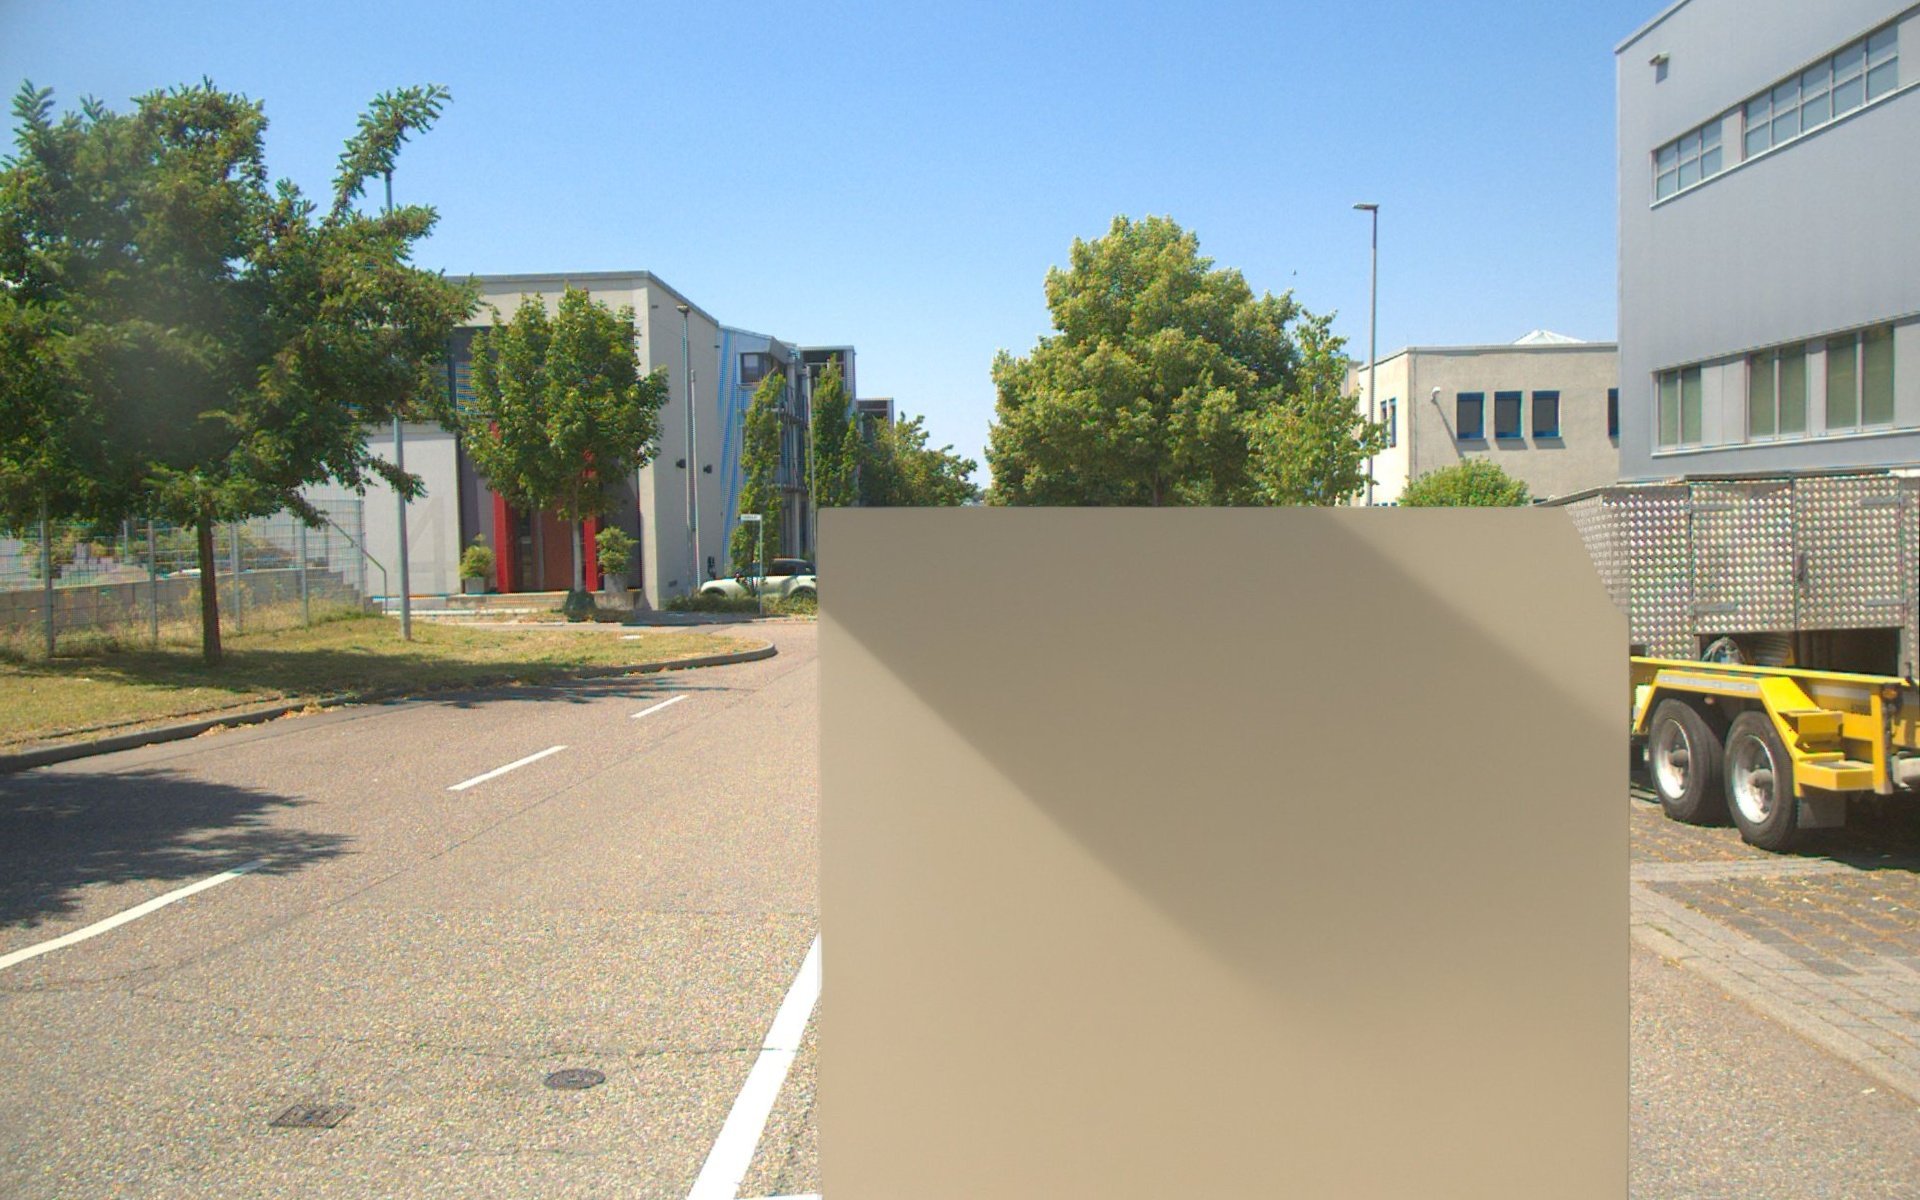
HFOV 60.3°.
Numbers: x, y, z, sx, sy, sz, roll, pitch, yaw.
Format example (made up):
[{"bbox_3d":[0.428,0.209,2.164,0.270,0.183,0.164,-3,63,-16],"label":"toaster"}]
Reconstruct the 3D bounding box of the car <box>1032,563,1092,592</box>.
[{"bbox_3d":[7.046,-1.540,114.473,3.856,1.866,1.765,-1,4,-7],"label":"car"}]

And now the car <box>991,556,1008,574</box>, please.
[{"bbox_3d":[3.987,-3.491,165.869,1.724,1.786,3.946,0,1,2],"label":"car"}]

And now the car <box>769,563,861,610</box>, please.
[{"bbox_3d":[-4.783,-0.451,54.555,2.998,1.504,1.291,0,1,-6],"label":"car"}]

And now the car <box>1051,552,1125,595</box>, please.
[{"bbox_3d":[6.426,-1.322,83.321,3.645,2.147,1.814,0,1,0],"label":"car"}]

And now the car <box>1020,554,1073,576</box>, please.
[{"bbox_3d":[6.617,-2.680,126.515,3.856,1.604,1.765,-1,4,-7],"label":"car"}]

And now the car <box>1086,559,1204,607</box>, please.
[{"bbox_3d":[6.110,-0.568,54.885,3.606,1.378,1.644,-3,1,-4],"label":"car"}]

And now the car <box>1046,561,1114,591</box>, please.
[{"bbox_3d":[6.674,-1.333,92.225,3.645,1.655,1.814,0,1,0],"label":"car"}]

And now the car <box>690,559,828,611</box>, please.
[{"bbox_3d":[-5.998,-0.461,49.791,3.964,1.521,1.728,0,1,-2],"label":"car"}]

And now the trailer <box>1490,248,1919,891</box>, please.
[{"bbox_3d":[5.520,-0.224,9.930,2.603,2.906,5.517,-3,1,-3],"label":"trailer"}]

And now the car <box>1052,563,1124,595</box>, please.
[{"bbox_3d":[6.709,-1.114,86.935,3.645,1.655,1.814,0,1,0],"label":"car"}]

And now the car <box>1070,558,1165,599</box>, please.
[{"bbox_3d":[6.111,-0.837,64.523,3.447,1.378,1.537,-3,1,-4],"label":"car"}]
